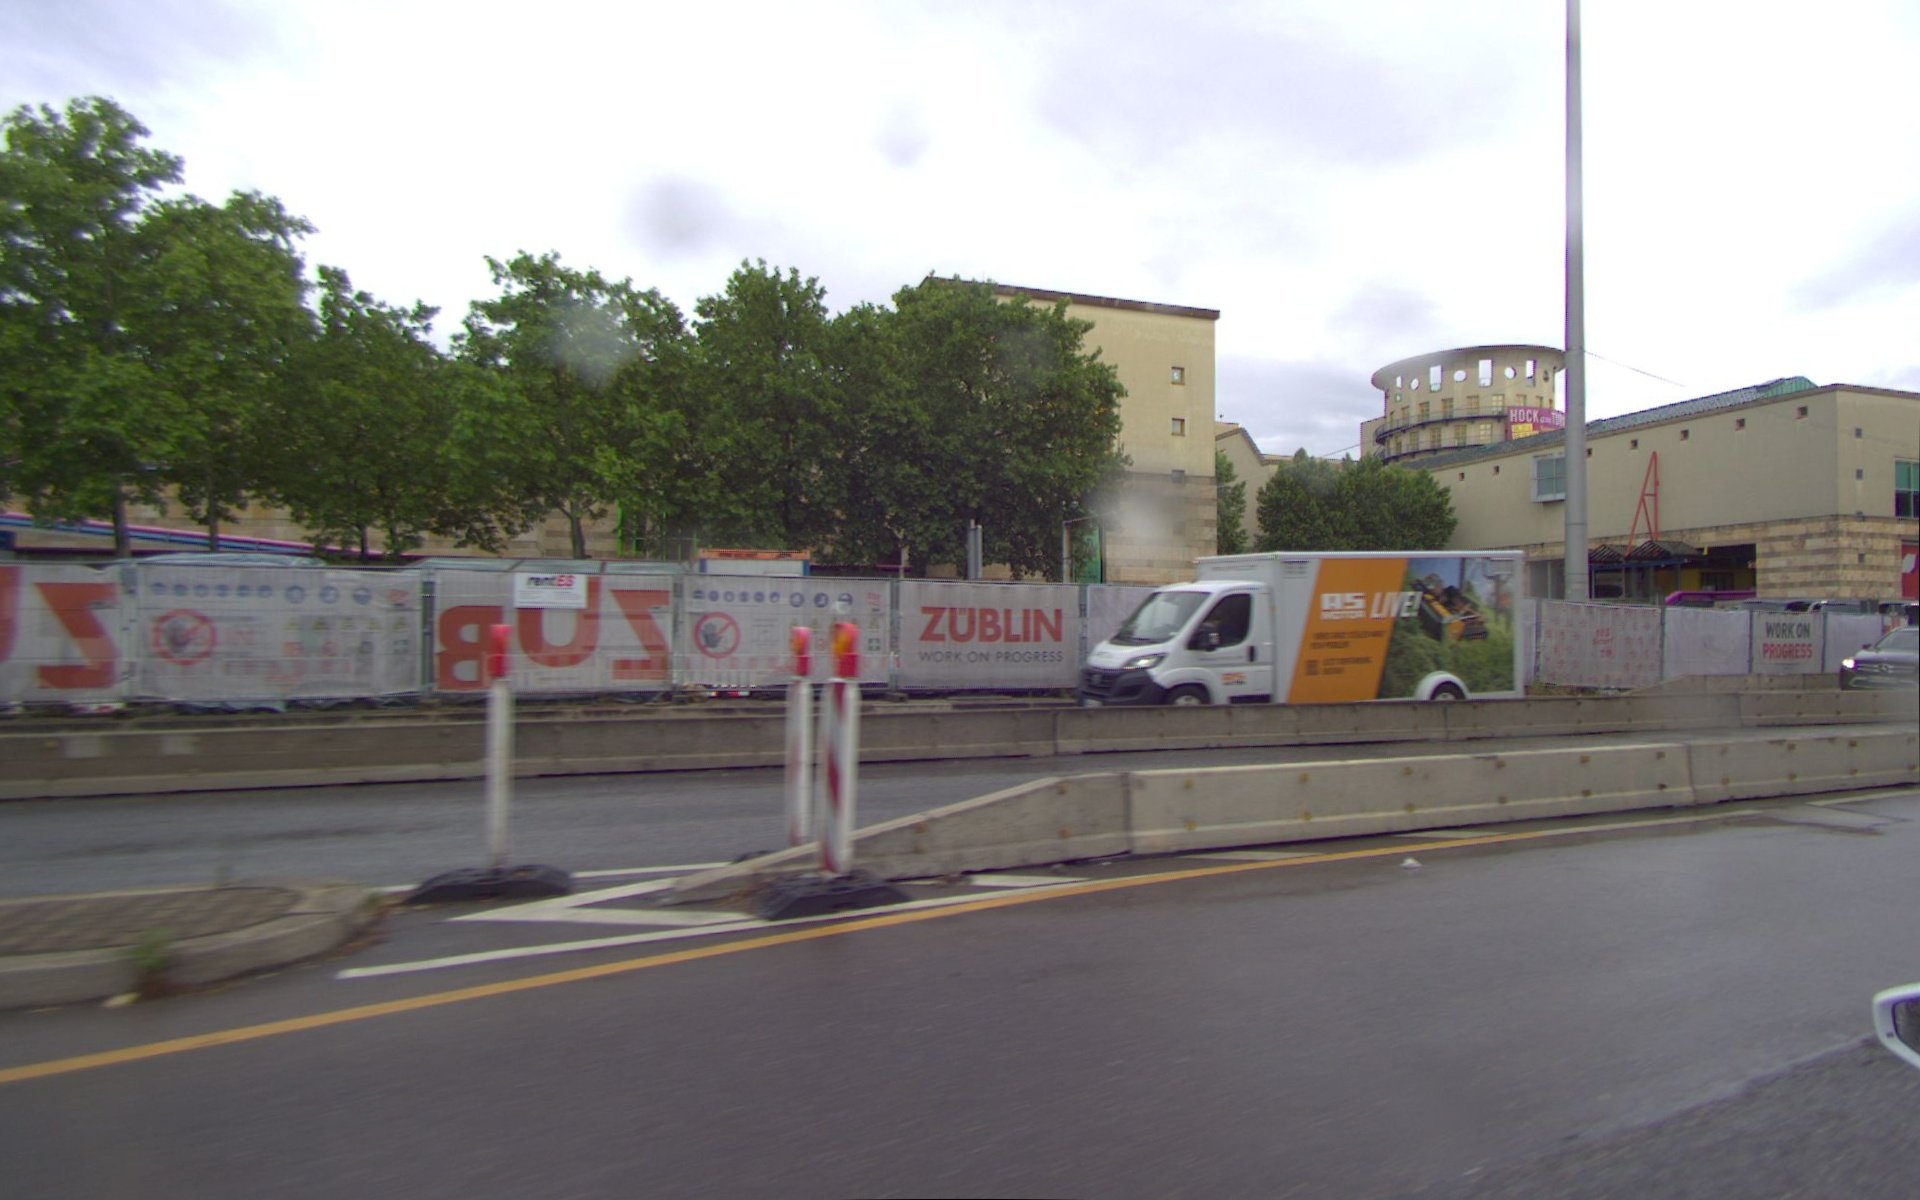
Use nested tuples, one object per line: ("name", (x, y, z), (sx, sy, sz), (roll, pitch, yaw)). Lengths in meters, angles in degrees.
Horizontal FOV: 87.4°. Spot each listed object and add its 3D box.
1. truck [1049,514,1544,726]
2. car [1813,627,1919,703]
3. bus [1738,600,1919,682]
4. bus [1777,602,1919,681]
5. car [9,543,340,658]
("truck", (5.159, 0.338, 15.367), (7.240, 2.755, 2.396), (1, -1, -19))
("car", (21.323, 1.380, 22.339), (4.698, 1.550, 1.914), (1, -2, -27))
("bus", (49.811, 2.253, 55.802), (13.270, 4.309, 3.119), (1, 0, -16))
("bus", (49.758, 2.154, 52.708), (14.353, 3.862, 2.804), (1, 0, -15))
("car", (-14.999, 0.026, 19.541), (4.642, 2.040, 1.992), (0, -1, -18))
